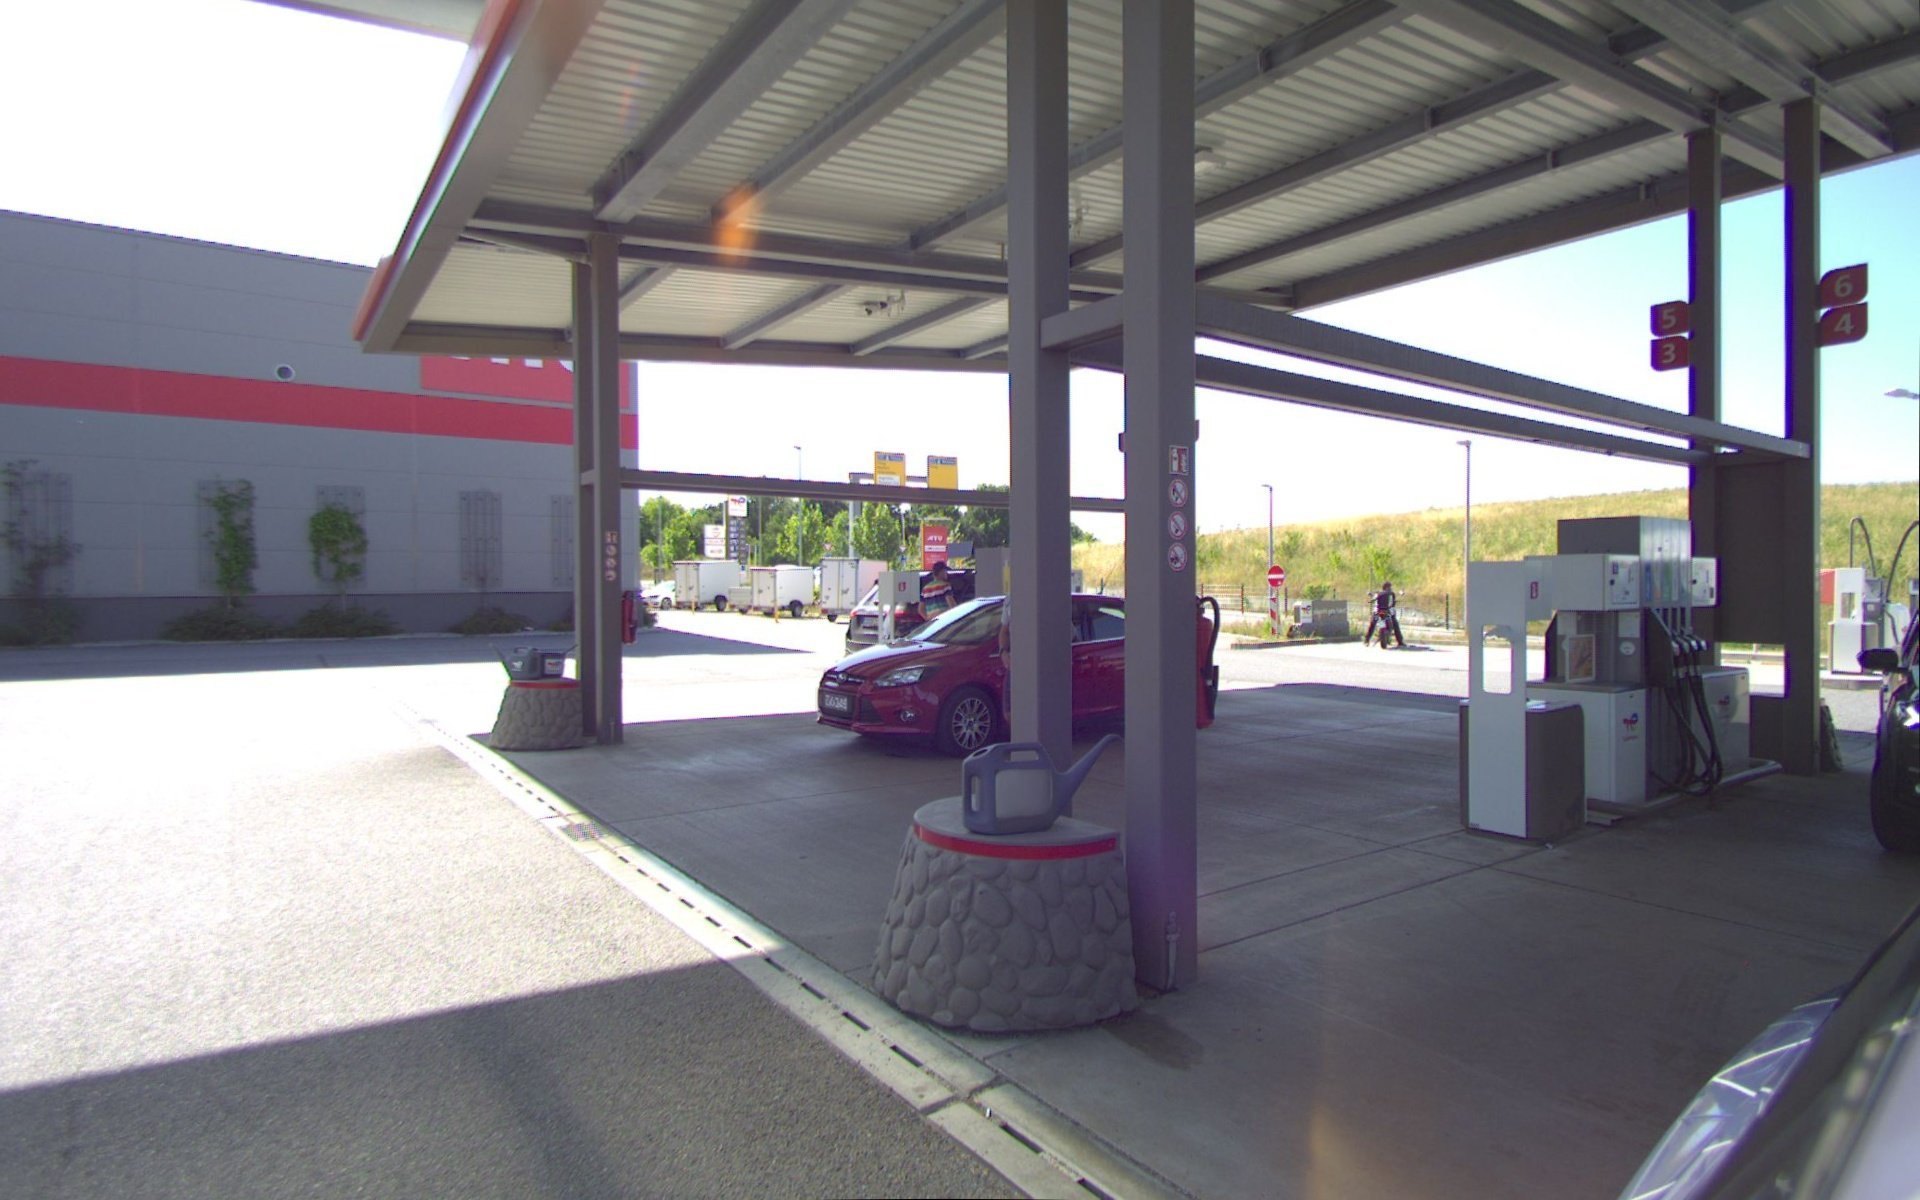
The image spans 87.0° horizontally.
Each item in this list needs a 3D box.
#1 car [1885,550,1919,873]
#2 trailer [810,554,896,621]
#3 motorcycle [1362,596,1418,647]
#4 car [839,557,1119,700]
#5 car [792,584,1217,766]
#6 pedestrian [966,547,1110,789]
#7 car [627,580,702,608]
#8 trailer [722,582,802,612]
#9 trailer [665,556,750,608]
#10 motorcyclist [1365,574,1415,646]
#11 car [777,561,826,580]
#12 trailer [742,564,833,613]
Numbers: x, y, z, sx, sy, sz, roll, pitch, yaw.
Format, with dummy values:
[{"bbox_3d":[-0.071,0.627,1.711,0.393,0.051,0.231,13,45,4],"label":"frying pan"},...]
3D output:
[{"bbox_3d":[7.075,0.570,6.324,1.739,1.665,4.557,1,1,45],"label":"car"},{"bbox_3d":[-4.087,-0.511,39.187,1.972,2.457,3.980,1,1,16],"label":"trailer"},{"bbox_3d":[10.696,0.510,25.121,1.037,1.119,2.391,1,2,29],"label":"motorcycle"},{"bbox_3d":[0.473,0.357,15.798,2.022,1.874,4.735,1,1,36],"label":"car"},{"bbox_3d":[0.561,0.594,10.215,4.153,1.487,1.704,0,1,-36],"label":"car"},{"bbox_3d":[0.607,0.476,7.772,0.700,1.724,0.914,1,0,40],"label":"pedestrian"},{"bbox_3d":[-14.730,-0.324,50.652,1.661,1.334,3.810,1,1,20],"label":"car"},{"bbox_3d":[-8.880,-0.157,45.629,1.565,1.297,3.681,1,1,29],"label":"trailer"},{"bbox_3d":[-12.369,-0.892,49.845,1.980,2.457,3.963,1,1,27],"label":"trailer"},{"bbox_3d":[10.644,0.225,25.055,1.026,1.709,1.088,1,1,29],"label":"motorcyclist"},{"bbox_3d":[-13.353,-2.477,85.065,3.916,1.562,1.735,0,1,-13],"label":"car"},{"bbox_3d":[-7.359,-0.505,43.576,1.787,2.039,3.959,1,1,29],"label":"trailer"}]
